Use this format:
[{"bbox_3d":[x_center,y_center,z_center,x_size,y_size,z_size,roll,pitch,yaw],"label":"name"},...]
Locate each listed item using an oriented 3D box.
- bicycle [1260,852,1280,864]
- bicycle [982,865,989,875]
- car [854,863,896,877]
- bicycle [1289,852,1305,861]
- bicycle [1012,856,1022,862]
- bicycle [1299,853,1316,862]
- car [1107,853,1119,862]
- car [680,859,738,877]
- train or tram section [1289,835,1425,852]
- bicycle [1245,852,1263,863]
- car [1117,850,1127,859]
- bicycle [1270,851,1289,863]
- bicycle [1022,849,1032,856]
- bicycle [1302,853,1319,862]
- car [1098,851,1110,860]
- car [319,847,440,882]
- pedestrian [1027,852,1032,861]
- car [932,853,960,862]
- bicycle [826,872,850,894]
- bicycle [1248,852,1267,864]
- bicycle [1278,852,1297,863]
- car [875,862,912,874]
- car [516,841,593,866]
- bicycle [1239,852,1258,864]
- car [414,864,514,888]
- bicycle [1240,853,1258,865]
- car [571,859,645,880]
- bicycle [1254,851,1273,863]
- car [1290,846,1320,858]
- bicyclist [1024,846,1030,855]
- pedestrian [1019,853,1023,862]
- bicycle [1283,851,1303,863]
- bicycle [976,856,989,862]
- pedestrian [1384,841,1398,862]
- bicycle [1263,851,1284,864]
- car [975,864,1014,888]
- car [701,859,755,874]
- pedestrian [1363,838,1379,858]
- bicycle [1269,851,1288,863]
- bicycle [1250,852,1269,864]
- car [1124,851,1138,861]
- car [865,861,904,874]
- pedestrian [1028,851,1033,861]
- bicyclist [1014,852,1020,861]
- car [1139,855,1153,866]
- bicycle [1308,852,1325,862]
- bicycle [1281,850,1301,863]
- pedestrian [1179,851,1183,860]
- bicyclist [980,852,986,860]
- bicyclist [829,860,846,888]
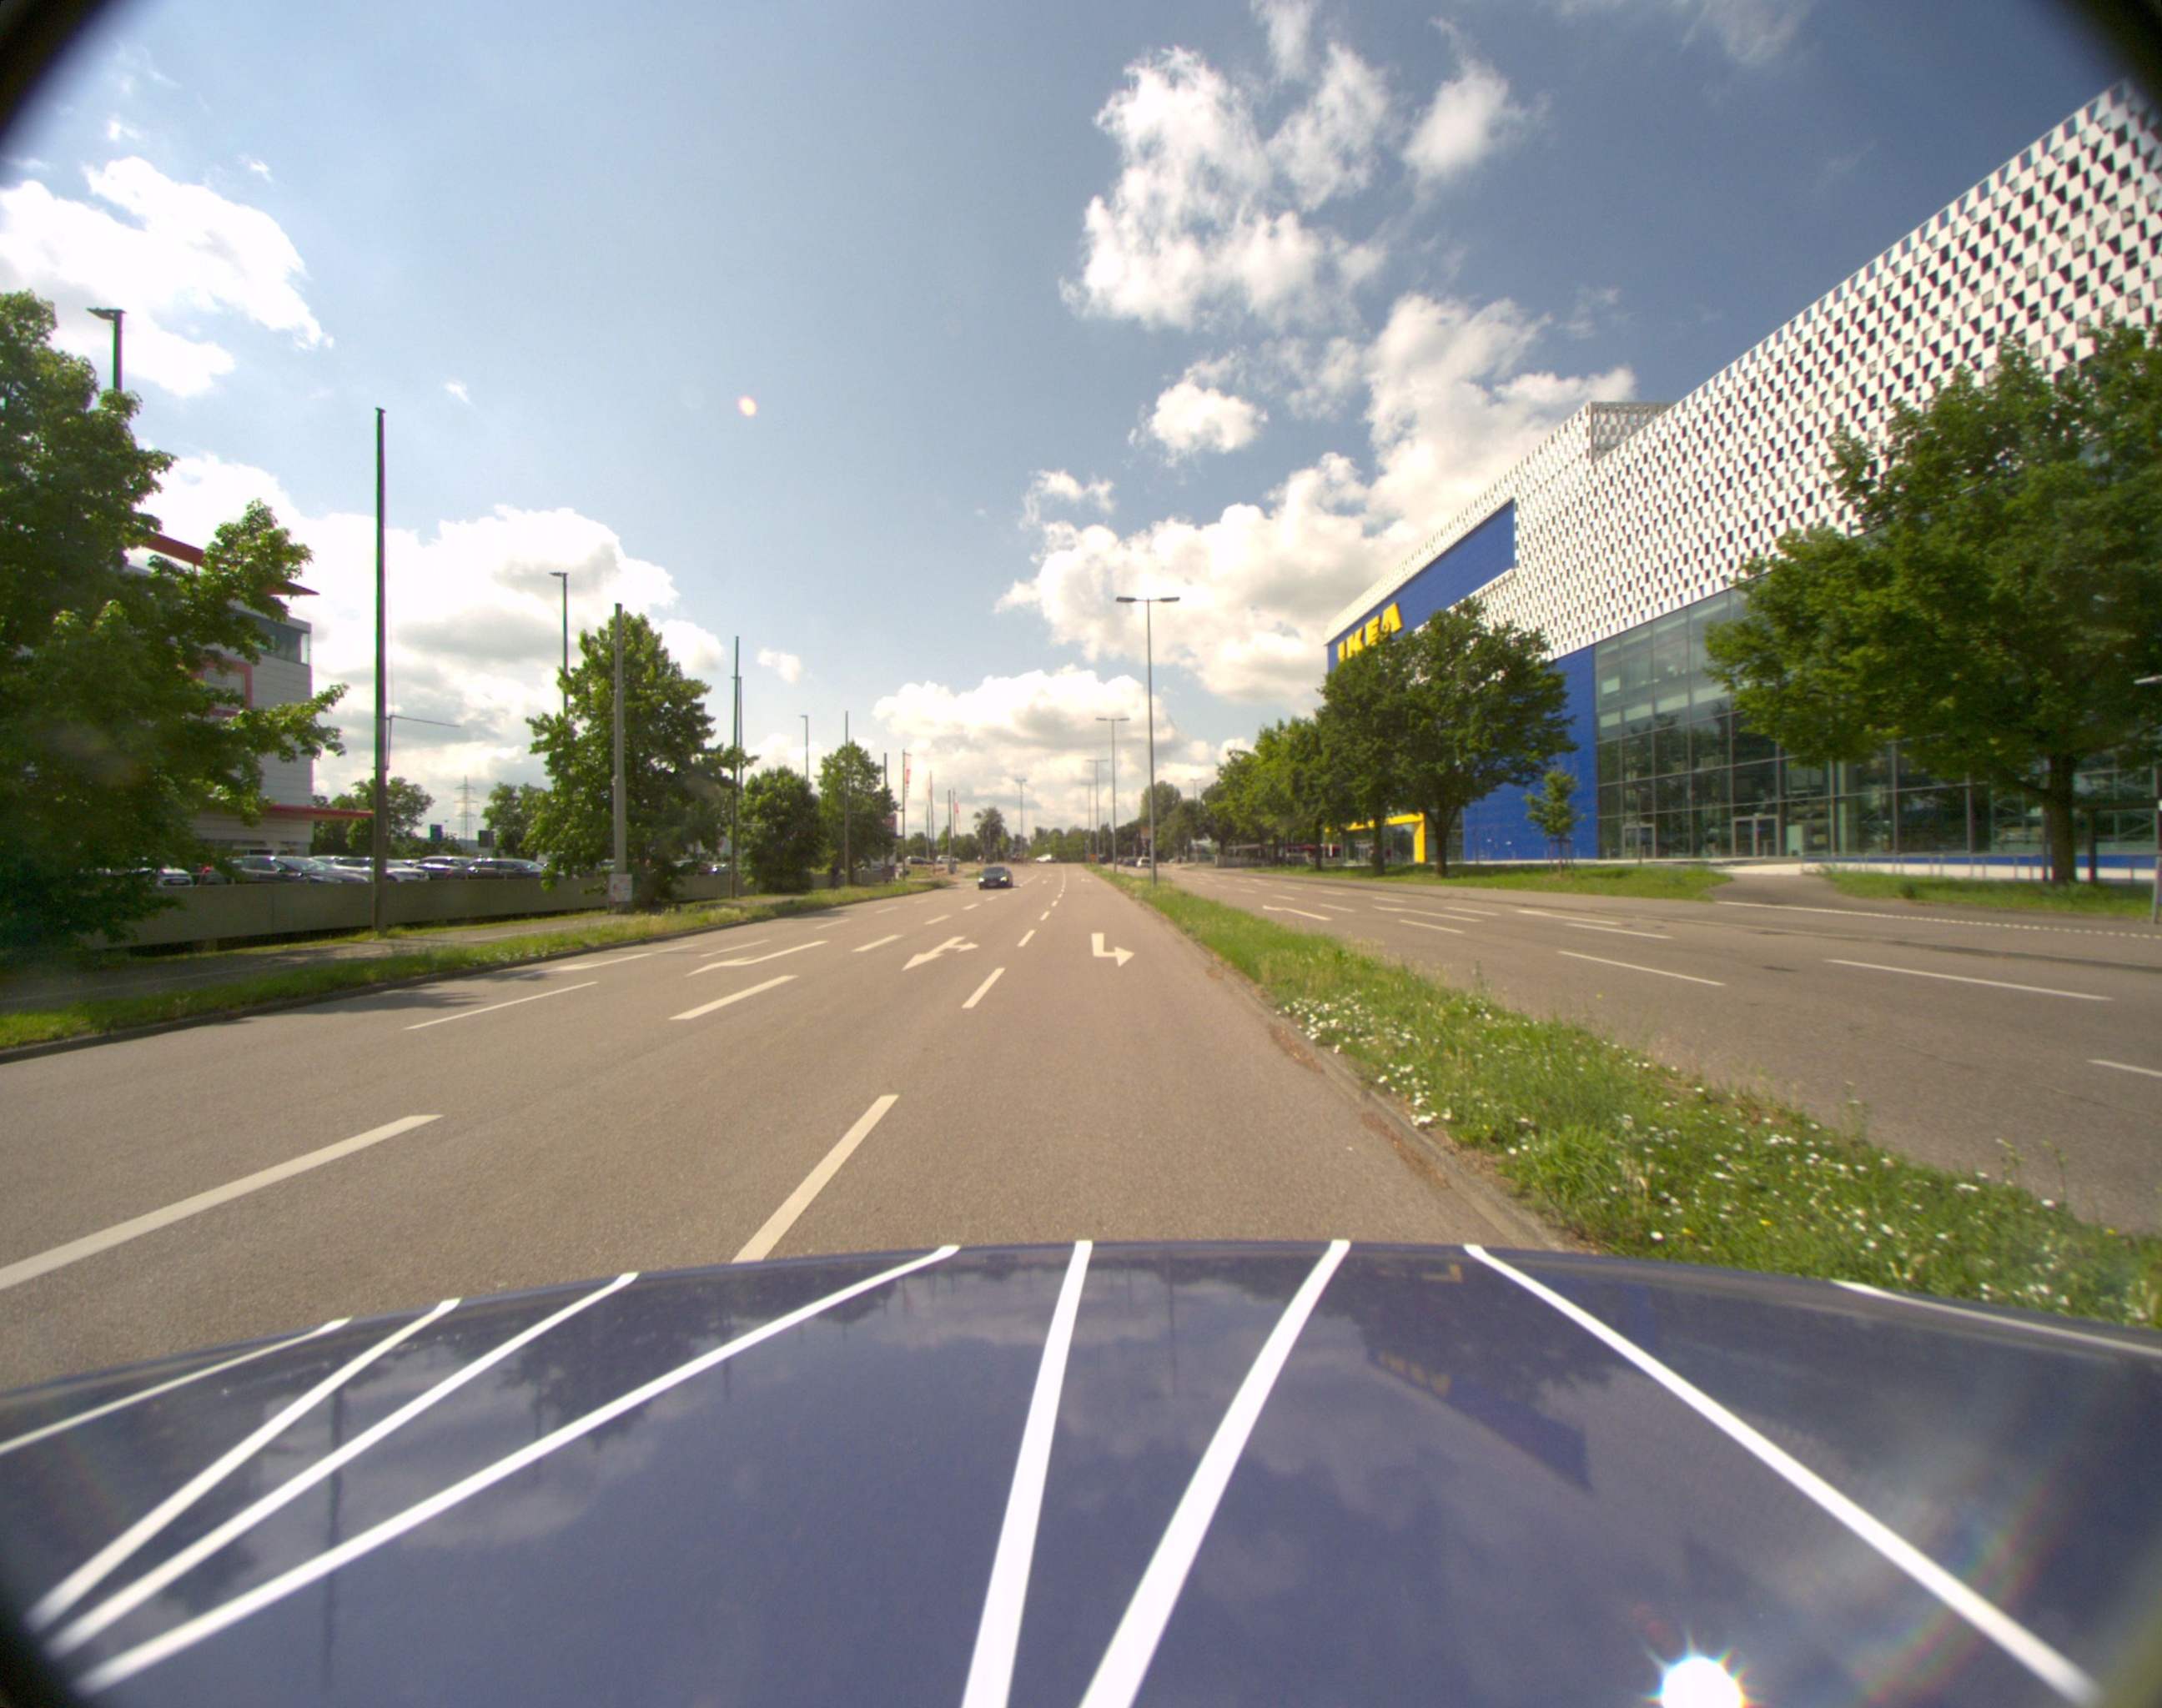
[{"bbox_3d":[20.117,0.428,80.704,1.930,1.176,0.629,-2,0,-1],"label":"bicycle"},{"bbox_3d":[-10.010,1.681,79.789,0.518,0.947,1.543,-2,1,-1],"label":"bicycle"},{"bbox_3d":[-24.439,1.931,90.086,4.369,1.468,1.857,-2,0,1],"label":"car"},{"bbox_3d":[27.506,0.338,96.750,1.940,1.064,0.529,-1,1,-5],"label":"bicycle"},{"bbox_3d":[-10.697,0.829,126.552,0.664,0.955,1.700,-2,-1,36],"label":"bicycle"},{"bbox_3d":[27.972,0.478,93.930,1.935,1.083,0.520,-2,0,-5],"label":"bicycle"},{"bbox_3d":[6.006,0.601,142.906,1.775,1.606,3.998,1,1,-2],"label":"car"},{"bbox_3d":[-31.520,1.167,64.470,4.065,1.522,1.741,0,1,-5],"label":"car"},{"bbox_3d":[53.638,-1.964,147.936,25.116,3.014,4.529,0,0,-3],"label":"train or tram section"},{"bbox_3d":[20.014,0.433,87.958,1.930,1.265,0.629,-2,0,-1],"label":"bicycle"},{"bbox_3d":[6.837,0.054,126.887,1.415,1.383,4.095,1,0,-1],"label":"car"},{"bbox_3d":[22.156,0.373,84.639,1.930,1.265,0.629,-2,0,-1],"label":"bicycle"},{"bbox_3d":[-9.110,-0.246,128.651,1.508,1.158,0.619,-1,-1,-44],"label":"bicycle"},{"bbox_3d":[28.043,0.375,92.850,1.940,1.064,0.529,-1,1,-5],"label":"bicycle"},{"bbox_3d":[3.861,0.190,128.091,1.608,1.485,4.131,1,1,-2],"label":"car"},{"bbox_3d":[-34.579,0.514,37.555,3.998,1.562,1.999,-2,1,-3],"label":"car"},{"bbox_3d":[-8.491,0.431,125.333,0.556,1.515,0.470,-2,0,8],"label":"pedestrian"},{"bbox_3d":[-23.194,0.566,130.680,4.495,1.405,2.013,0,0,-4],"label":"car"},{"bbox_3d":[-12.529,1.498,39.175,0.625,1.061,1.968,0,0,0],"label":"bicycle"},{"bbox_3d":[20.131,0.462,86.670,1.930,1.265,0.629,-2,0,-1],"label":"bicycle"},{"bbox_3d":[22.248,0.381,81.859,1.930,1.172,0.629,-2,0,-1],"label":"bicycle"},{"bbox_3d":[-24.716,1.847,100.202,4.370,1.431,1.796,-1,0,-1],"label":"car"},{"bbox_3d":[-68.649,-0.049,99.156,7.898,3.136,3.122,-1,1,2],"label":"car"},{"bbox_3d":[19.623,0.492,89.056,2.094,1.265,0.629,-2,0,-1],"label":"bicycle"},{"bbox_3d":[-34.410,1.201,42.444,4.194,1.317,1.688,0,0,-1],"label":"car"},{"bbox_3d":[19.925,0.587,90.252,1.930,1.265,0.629,-2,0,-1],"label":"bicycle"},{"bbox_3d":[-34.099,1.122,54.834,4.193,1.543,1.764,0,-1,-2],"label":"car"},{"bbox_3d":[19.948,0.377,83.120,1.930,1.265,0.629,-2,0,-1],"label":"bicycle"},{"bbox_3d":[40.594,-0.298,137.974,4.821,2.001,1.999,-2,-1,-4],"label":"car"},{"bbox_3d":[-9.142,-0.651,128.616,0.698,1.526,0.619,-1,0,-43],"label":"bicyclist"},{"bbox_3d":[-9.873,0.598,124.575,0.585,1.515,0.469,-2,1,8],"label":"pedestrian"},{"bbox_3d":[22.259,0.355,79.803,1.930,1.177,0.629,-2,0,-1],"label":"bicycle"},{"bbox_3d":[-15.943,0.777,123.294,1.991,0.955,0.595,-1,-1,-35],"label":"bicycle"},{"bbox_3d":[26.809,-0.223,65.665,0.755,1.812,0.887,-2,1,-1],"label":"pedestrian"},{"bbox_3d":[20.156,0.353,79.611,1.930,1.265,0.629,-2,0,-1],"label":"bicycle"},{"bbox_3d":[-5.344,1.328,47.569,1.797,1.311,4.163,-2,0,2],"label":"car"},{"bbox_3d":[-34.419,1.201,74.165,4.369,1.354,1.847,0,0,1],"label":"car"},{"bbox_3d":[25.032,-0.506,65.595,0.952,1.692,0.887,-2,1,-1],"label":"pedestrian"},{"bbox_3d":[22.275,0.361,85.650,1.930,1.265,0.629,-2,0,-1],"label":"bicycle"},{"bbox_3d":[20.122,0.447,85.587,1.930,1.265,0.629,-2,0,-1],"label":"bicycle"},{"bbox_3d":[7.436,0.311,112.730,1.668,1.413,4.518,1,0,-2],"label":"car"},{"bbox_3d":[-24.485,1.694,94.700,4.370,1.408,1.856,-2,0,-1],"label":"car"},{"bbox_3d":[-8.268,0.348,123.907,0.688,1.718,0.701,0,2,10],"label":"pedestrian"},{"bbox_3d":[-10.701,0.487,126.566,0.649,1.467,0.744,-2,1,37],"label":"bicyclist"},{"bbox_3d":[8.587,0.839,100.445,1.647,1.420,3.670,0,0,0],"label":"car"},{"bbox_3d":[28.282,0.347,91.332,1.940,1.202,0.528,-1,1,-5],"label":"bicycle"},{"bbox_3d":[22.300,0.278,80.763,1.930,1.265,0.629,-2,0,-1],"label":"bicycle"},{"bbox_3d":[16.721,0.317,127.575,0.439,1.481,0.619,-1,1,-18],"label":"pedestrian"},{"bbox_3d":[-15.935,0.336,123.311,0.688,1.317,0.591,-1,0,-35],"label":"bicyclist"},{"bbox_3d":[-12.541,1.025,39.158,0.617,1.404,0.715,-1,0,0],"label":"bicyclist"}]
